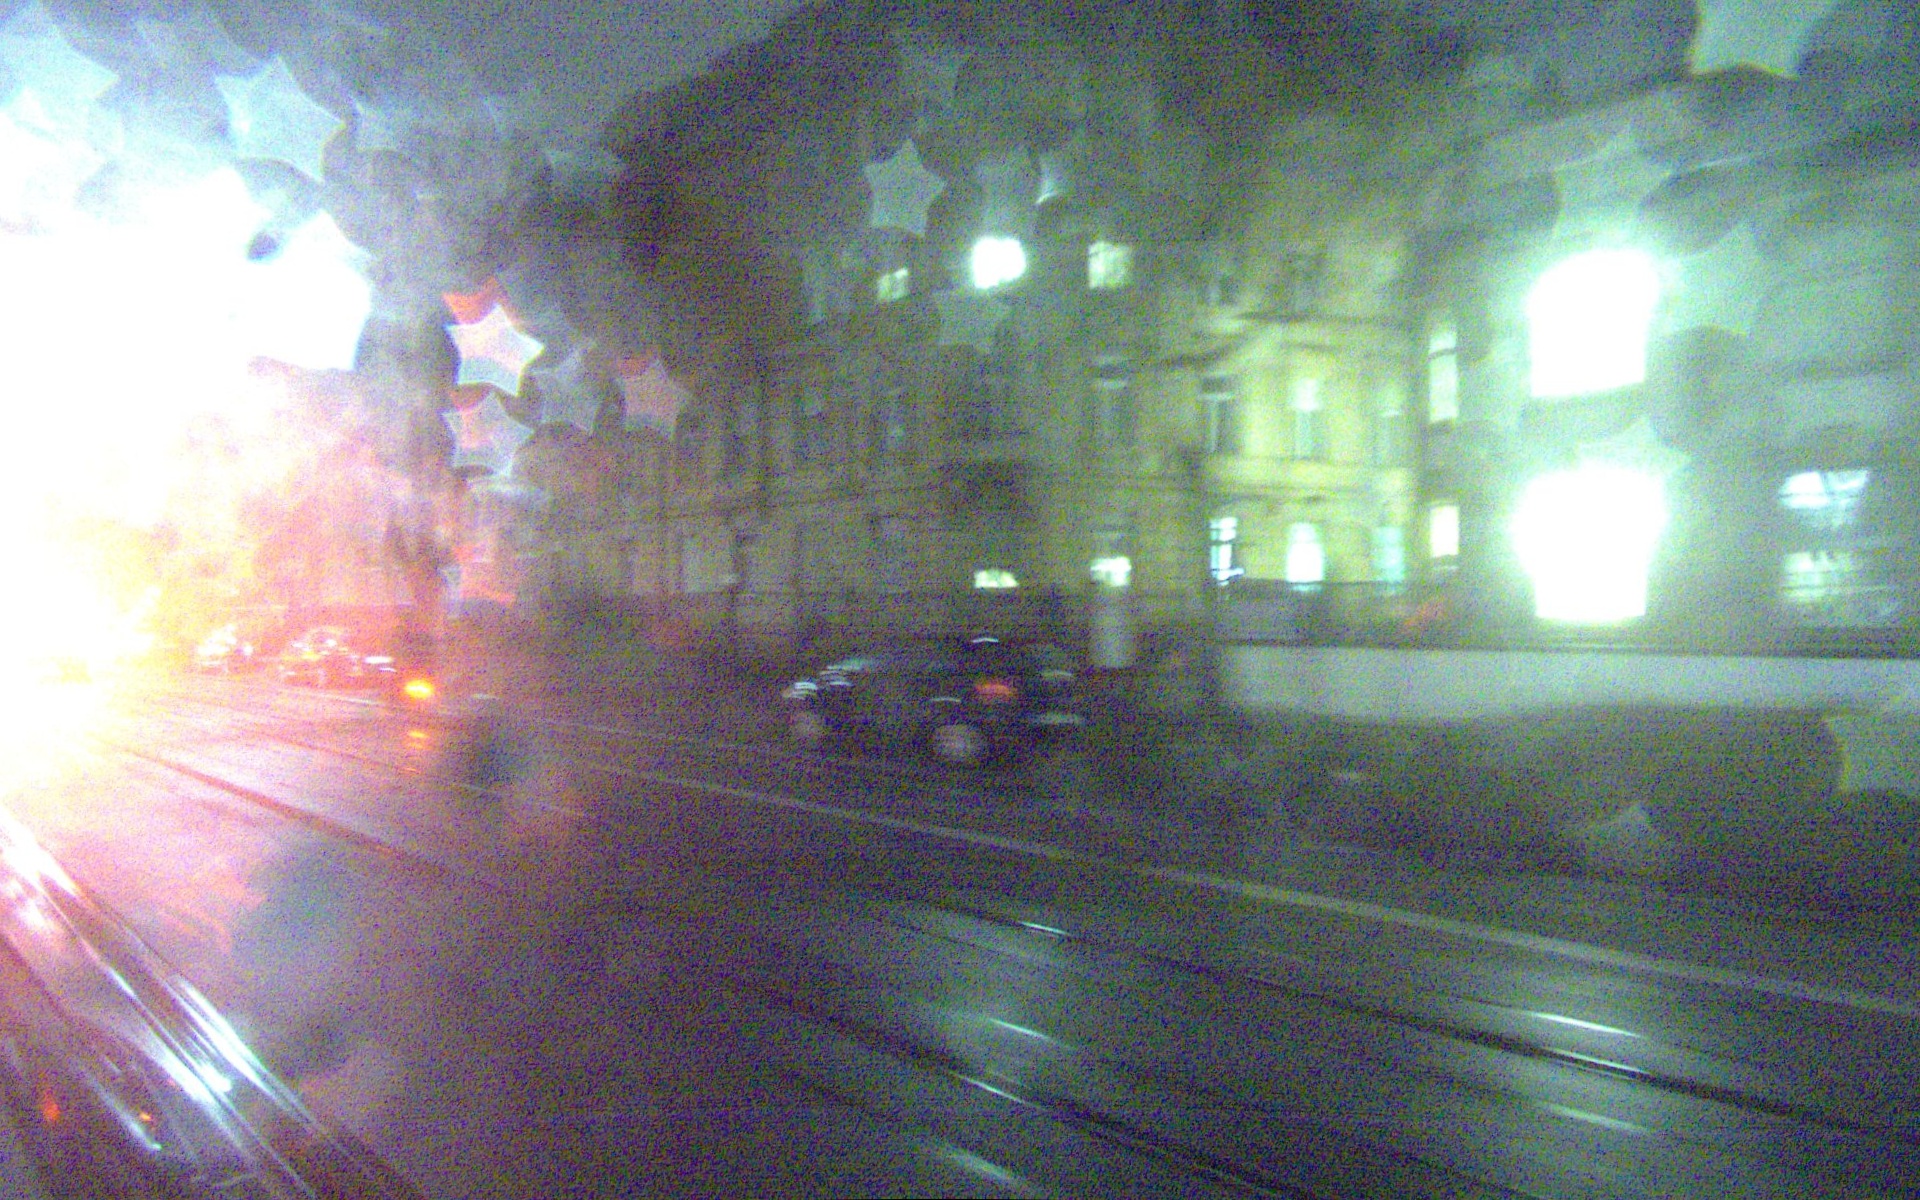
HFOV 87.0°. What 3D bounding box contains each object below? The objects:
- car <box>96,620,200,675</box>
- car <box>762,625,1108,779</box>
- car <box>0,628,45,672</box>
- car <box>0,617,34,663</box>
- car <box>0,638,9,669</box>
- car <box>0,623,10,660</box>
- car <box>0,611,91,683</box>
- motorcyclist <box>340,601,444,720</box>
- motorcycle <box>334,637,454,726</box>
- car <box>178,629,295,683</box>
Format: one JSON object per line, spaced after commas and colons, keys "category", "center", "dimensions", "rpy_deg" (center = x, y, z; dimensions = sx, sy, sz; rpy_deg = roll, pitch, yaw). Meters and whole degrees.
{"category": "car", "center": [-30.160, 1.753, 37.541], "dimensions": [5.304, 1.839, 1.974], "rpy_deg": [-3, 0, 40]}
{"category": "car", "center": [-0.412, 1.048, 11.892], "dimensions": [3.999, 1.397, 1.651], "rpy_deg": [0, 1, 41]}
{"category": "car", "center": [-33.959, 1.759, 36.054], "dimensions": [4.206, 1.491, 1.633], "rpy_deg": [-2, -4, 43]}
{"category": "car", "center": [-41.602, 1.745, 43.926], "dimensions": [1.903, 1.894, 4.640], "rpy_deg": [3, -4, -44]}
{"category": "car", "center": [-46.788, 2.561, 48.398], "dimensions": [1.772, 1.475, 3.903], "rpy_deg": [1, -3, -45]}
{"category": "car", "center": [-51.272, 2.157, 53.035], "dimensions": [4.537, 1.883, 1.874], "rpy_deg": [-1, -3, 44]}
{"category": "car", "center": [-25.372, 1.279, 27.572], "dimensions": [4.383, 1.830, 1.918], "rpy_deg": [-2, -4, 41]}
{"category": "motorcyclist", "center": [-8.862, 0.941, 15.795], "dimensions": [1.134, 1.753, 0.909], "rpy_deg": [0, -5, 37]}
{"category": "motorcycle", "center": [-8.797, 1.256, 15.706], "dimensions": [1.998, 1.239, 0.809], "rpy_deg": [0, -5, 38]}
{"category": "car", "center": [-21.457, 1.605, 29.971], "dimensions": [4.136, 1.417, 1.748], "rpy_deg": [-1, 0, 39]}
